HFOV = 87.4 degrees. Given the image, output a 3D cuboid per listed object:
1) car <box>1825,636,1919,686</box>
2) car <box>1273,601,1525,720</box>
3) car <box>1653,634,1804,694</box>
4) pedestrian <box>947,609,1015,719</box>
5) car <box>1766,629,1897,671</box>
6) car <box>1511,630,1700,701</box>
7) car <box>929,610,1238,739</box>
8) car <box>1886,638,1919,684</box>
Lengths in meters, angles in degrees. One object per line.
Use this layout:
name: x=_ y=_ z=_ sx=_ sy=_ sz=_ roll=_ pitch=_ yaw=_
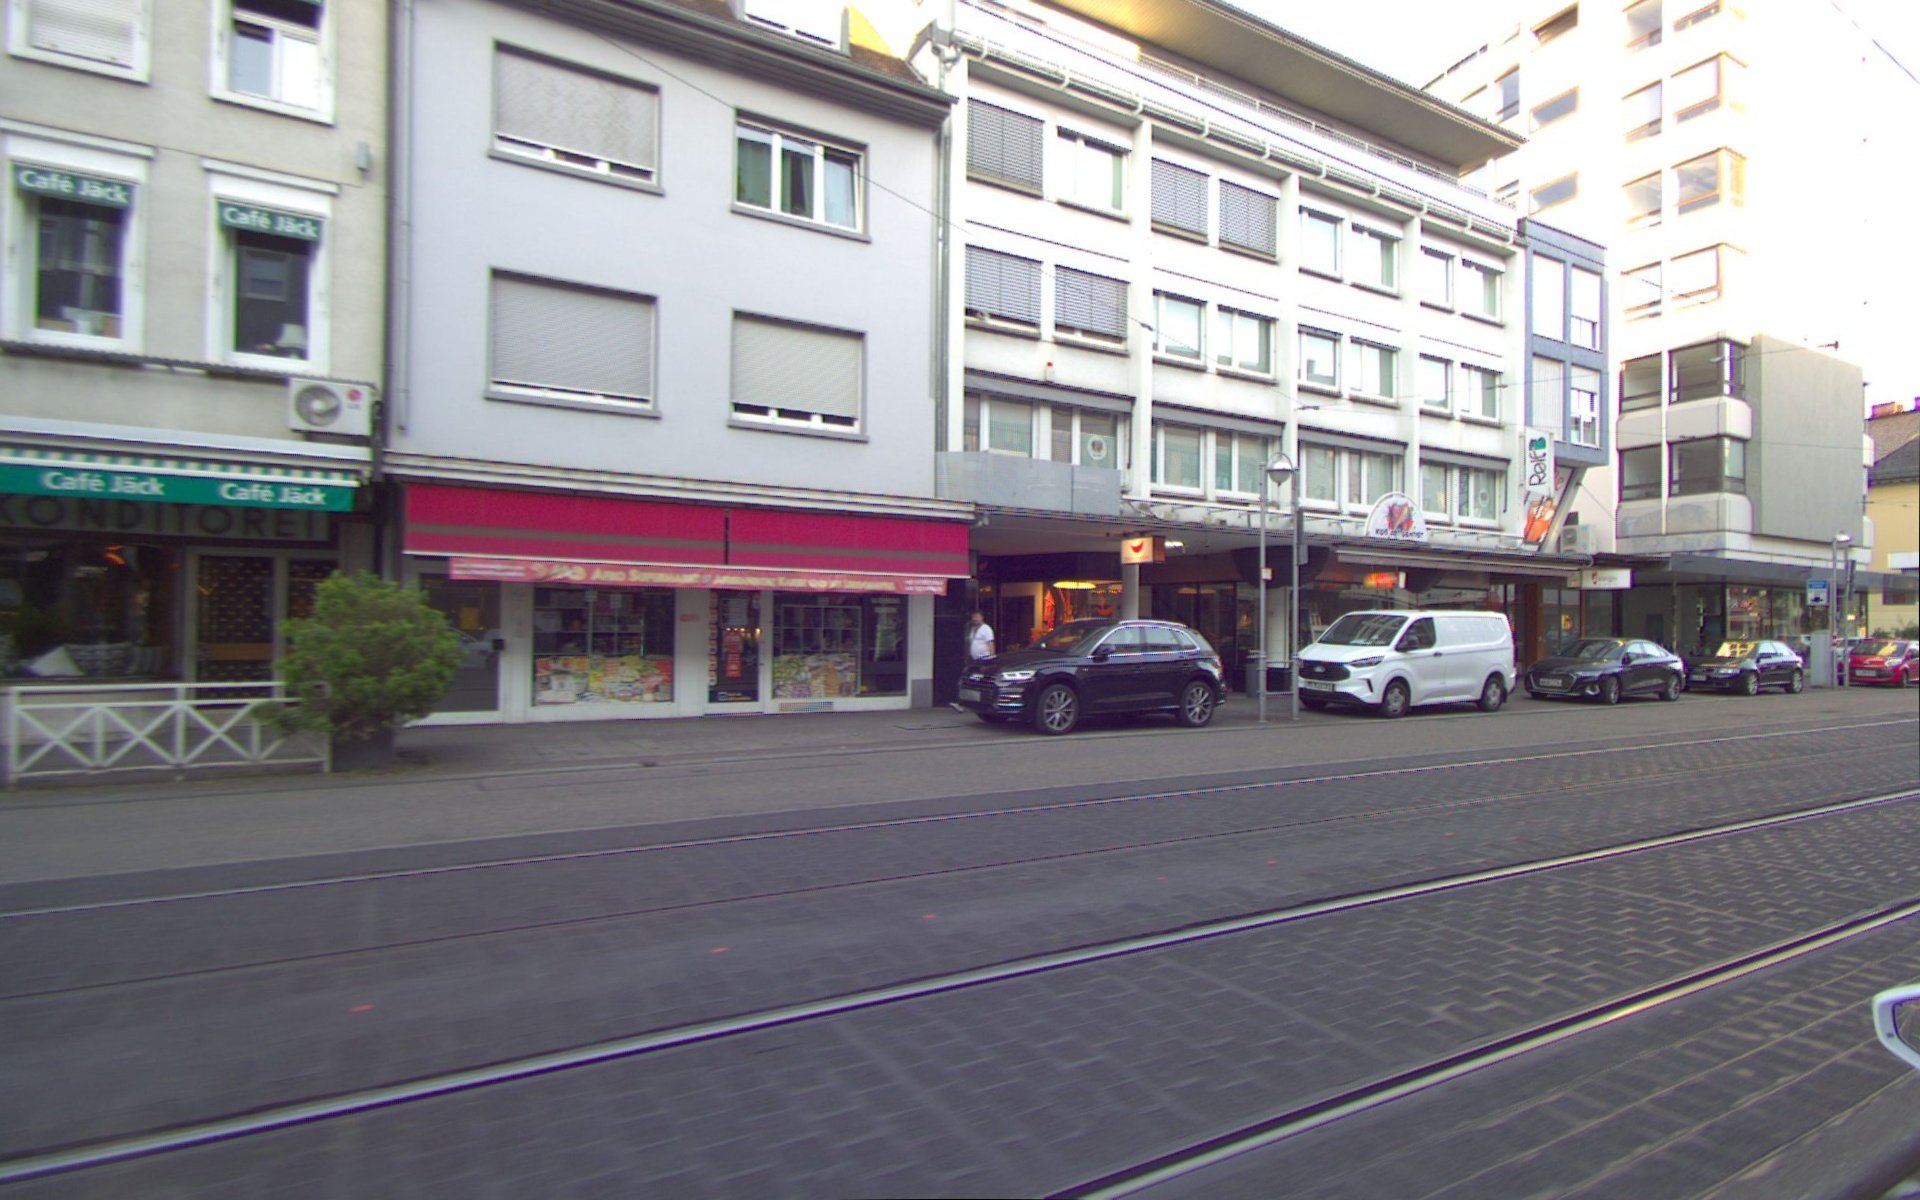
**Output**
car: x=28.824 y=1.875 z=31.395 sx=3.550 sy=1.453 sz=1.683 roll=1 pitch=-1 yaw=-31
car: x=8.645 y=1.127 z=19.635 sx=5.042 sy=2.040 sz=1.954 roll=2 pitch=0 yaw=-32
car: x=20.497 y=1.668 z=26.773 sx=4.042 sy=1.480 sz=1.782 roll=1 pitch=-2 yaw=-30
pedestrian: x=0.357 y=1.081 z=17.258 sx=0.809 sy=1.806 sz=0.813 roll=2 pitch=0 yaw=-30
car: x=38.210 y=2.174 z=44.136 sx=1.893 sy=1.573 sz=3.965 roll=2 pitch=0 yaw=-32
car: x=15.045 y=1.494 z=23.367 sx=4.518 sy=1.445 sz=1.863 roll=2 pitch=0 yaw=-30
car: x=1.980 y=1.095 z=15.777 sx=4.535 sy=1.720 sz=1.984 roll=2 pitch=0 yaw=-31
car: x=33.240 y=2.066 z=34.019 sx=3.919 sy=1.444 sz=1.683 roll=1 pitch=1 yaw=-30
